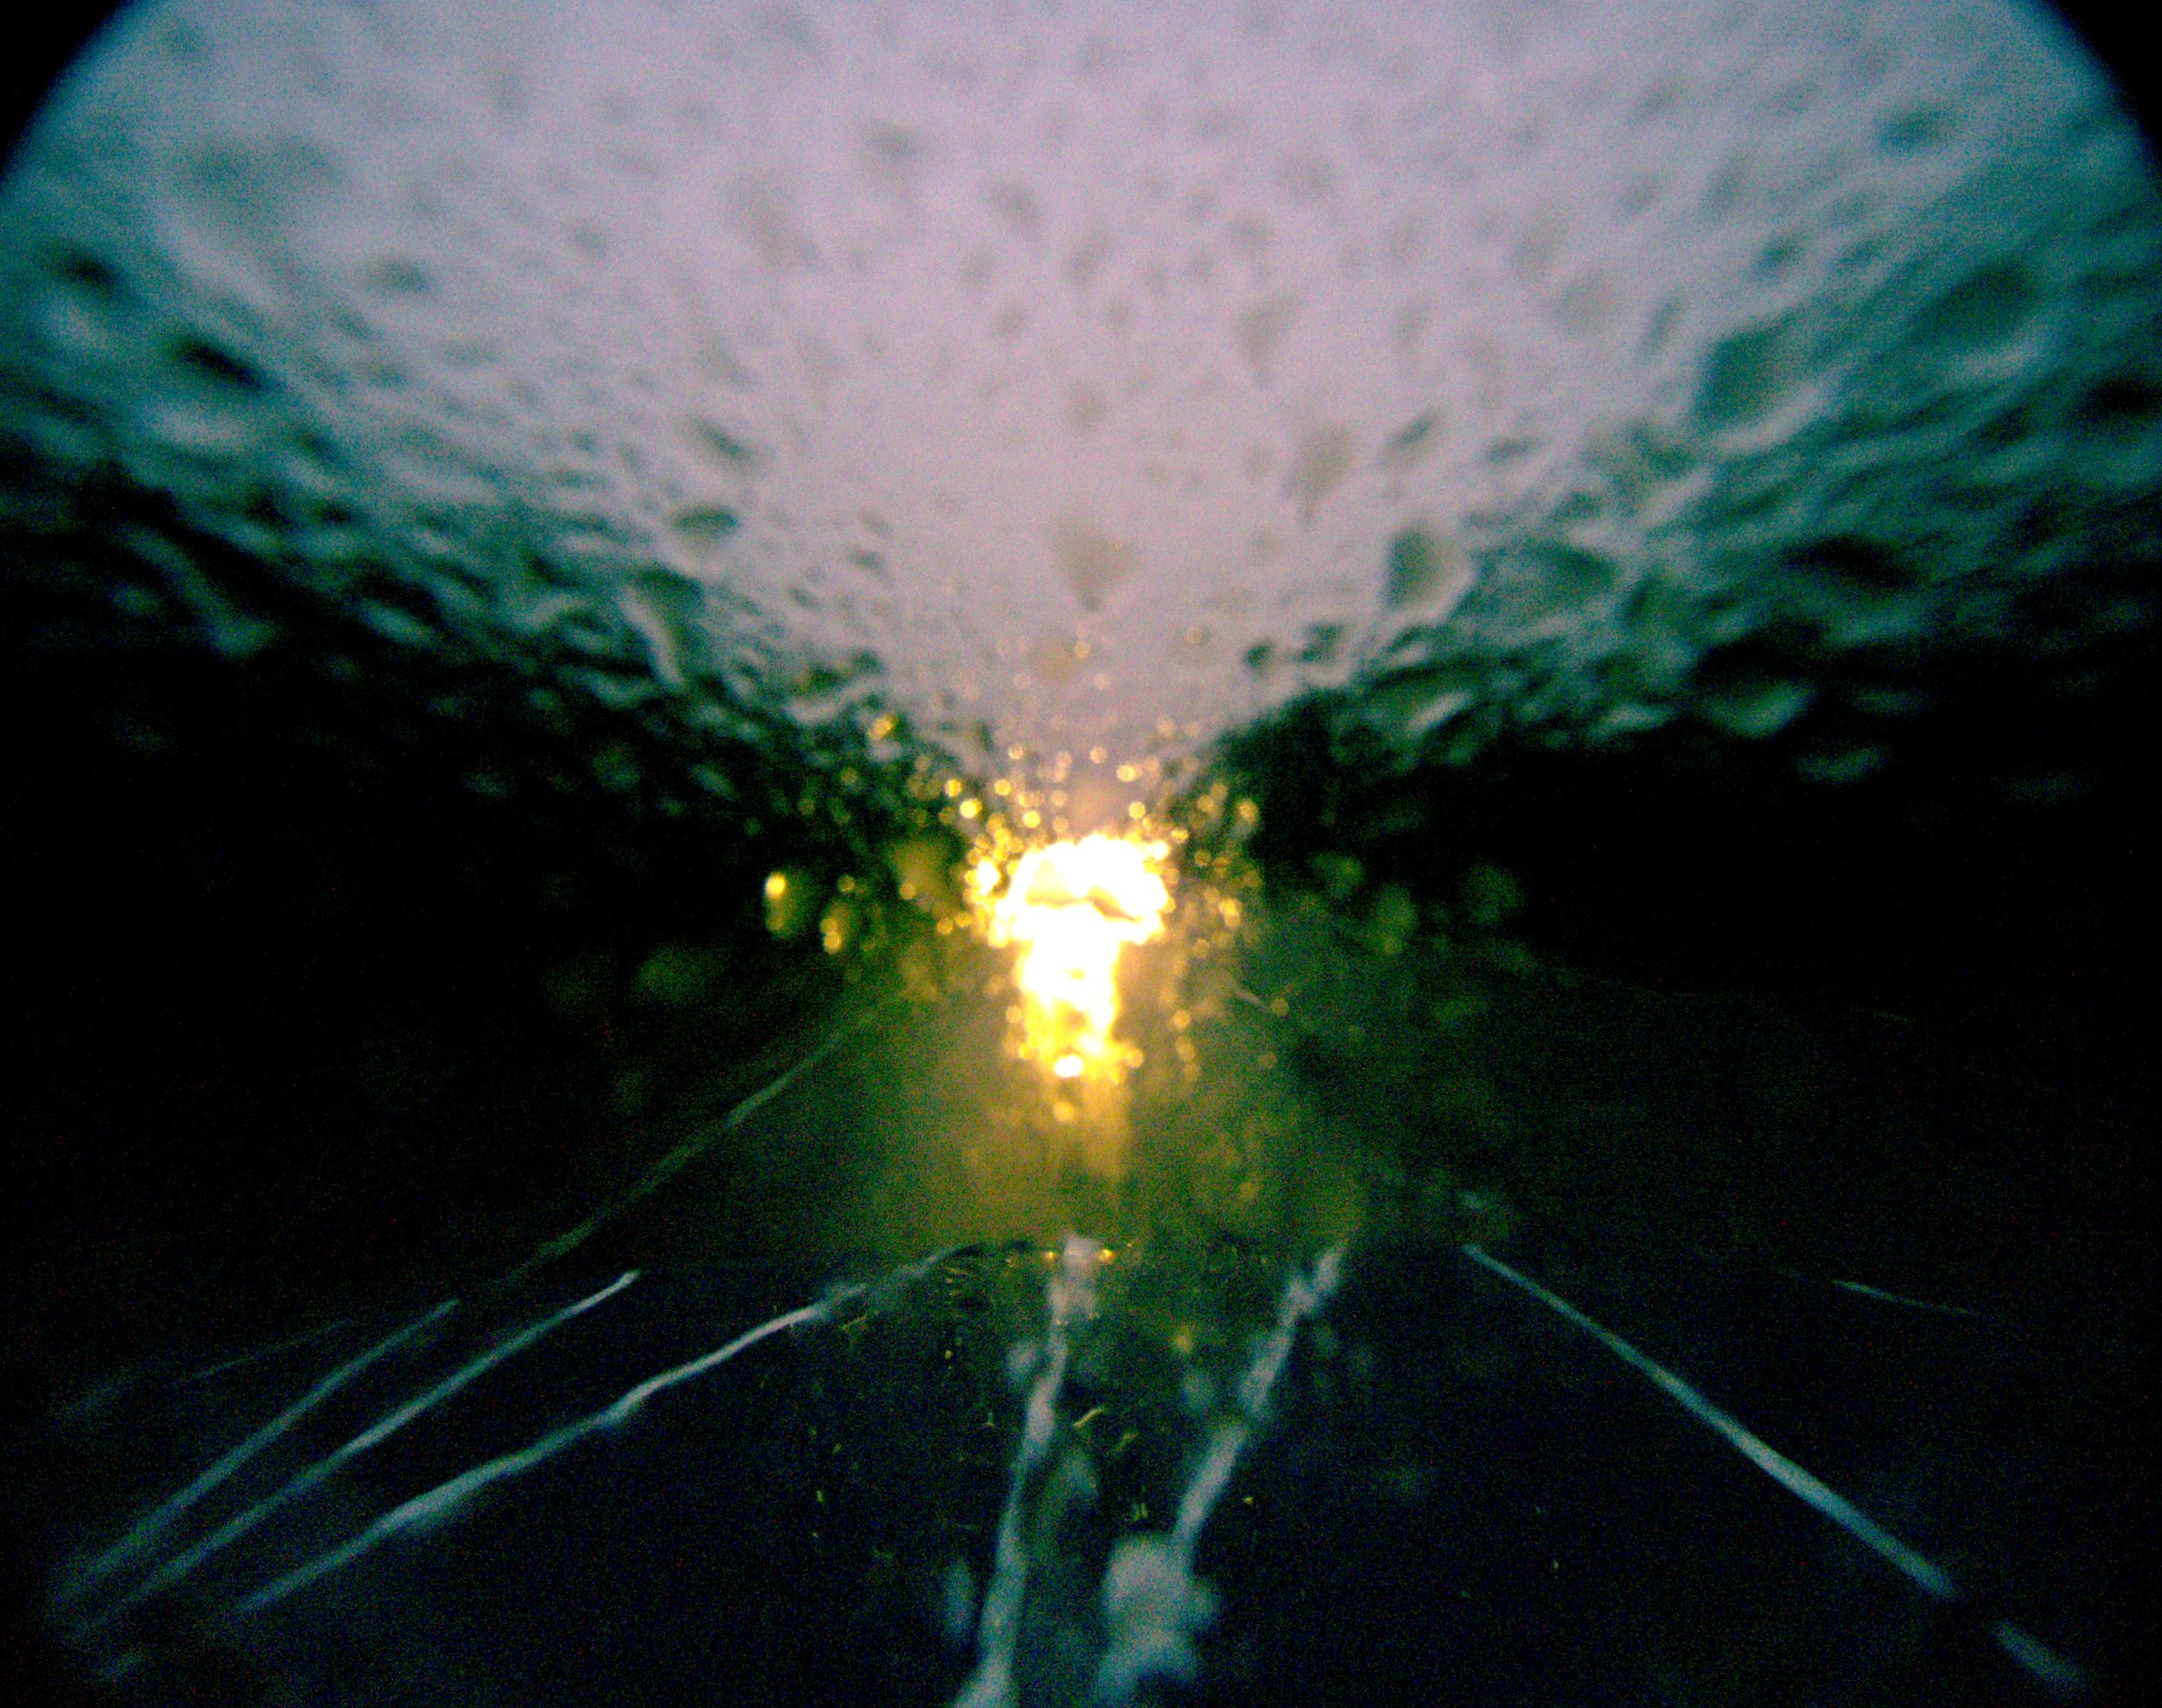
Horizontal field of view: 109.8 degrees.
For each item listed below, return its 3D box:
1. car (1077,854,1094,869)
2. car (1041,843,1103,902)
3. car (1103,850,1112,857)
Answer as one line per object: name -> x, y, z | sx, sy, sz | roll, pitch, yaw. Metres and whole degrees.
car -> 0.571, 0.891, 93.031 | 1.998, 1.752, 4.371 | -2, 1, 1
car -> -0.218, 0.524, 24.776 | 1.572, 1.701, 4.001 | -2, 1, 5
car -> 6.497, -0.148, 186.155 | 1.877, 1.597, 4.195 | -2, 0, 0
